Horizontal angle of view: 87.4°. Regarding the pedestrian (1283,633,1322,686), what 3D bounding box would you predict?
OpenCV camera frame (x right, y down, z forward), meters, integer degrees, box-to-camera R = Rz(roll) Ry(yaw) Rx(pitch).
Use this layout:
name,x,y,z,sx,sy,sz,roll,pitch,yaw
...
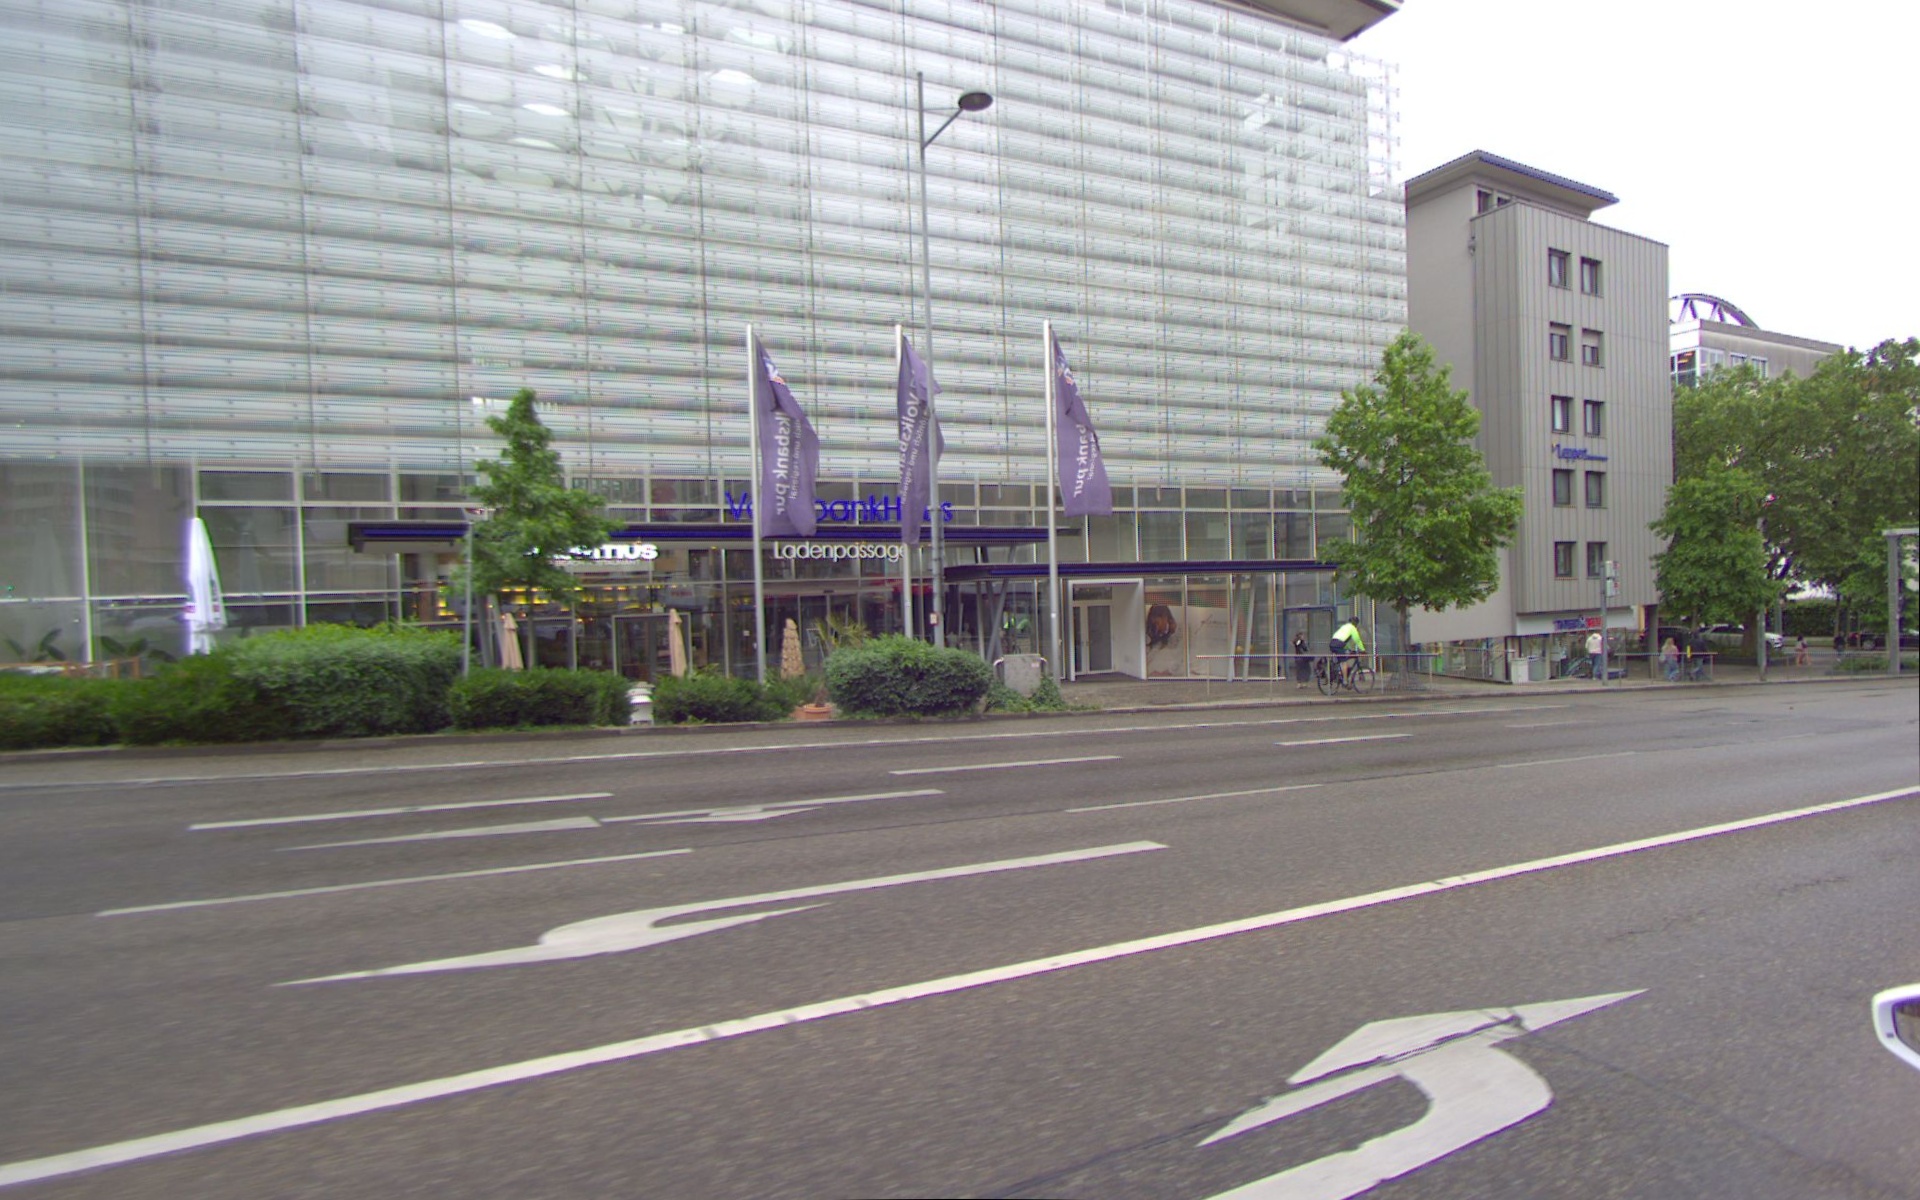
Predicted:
name,x,y,z,sx,sy,sz,roll,pitch,yaw
pedestrian,9.714,1.668,28.512,0.833,1.475,0.650,0,-2,-25

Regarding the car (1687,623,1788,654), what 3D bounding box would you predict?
name,x,y,z,sx,sy,sz,roll,pitch,yaw
car,51.338,2.492,66.410,1.987,1.782,5.021,2,0,-44

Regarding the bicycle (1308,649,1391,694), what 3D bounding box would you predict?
name,x,y,z,sx,sy,sz,roll,pitch,yaw
bicycle,9.996,1.834,25.762,2.038,1.114,0.678,1,-2,-19

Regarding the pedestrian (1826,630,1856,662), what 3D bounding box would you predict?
name,x,y,z,sx,sy,sz,roll,pitch,yaw
pedestrian,48.548,2.511,55.370,0.746,1.745,0.950,0,-2,-12

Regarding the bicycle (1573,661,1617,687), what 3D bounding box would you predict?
name,x,y,z,sx,sy,sz,roll,pitch,yaw
bicycle,28.503,3.312,45.083,2.642,1.101,0.608,2,-1,-33

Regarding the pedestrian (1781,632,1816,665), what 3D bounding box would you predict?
name,x,y,z,sx,sy,sz,roll,pitch,yaw
pedestrian,45.929,2.642,55.023,0.996,1.745,0.951,-2,-2,-6

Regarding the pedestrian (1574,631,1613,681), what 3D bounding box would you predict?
name,x,y,z,sx,sy,sz,roll,pitch,yaw
pedestrian,22.438,1.959,35.582,0.982,1.745,1.033,-2,-2,43

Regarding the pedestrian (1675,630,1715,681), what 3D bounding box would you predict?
name,x,y,z,sx,sy,sz,roll,pitch,yaw
pedestrian,25.285,1.896,34.559,1.302,1.735,0.809,1,-2,-39

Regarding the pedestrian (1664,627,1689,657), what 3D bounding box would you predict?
name,x,y,z,sx,sy,sz,roll,pitch,yaw
pedestrian,42.061,2.487,58.974,0.937,1.745,0.757,0,-2,-20

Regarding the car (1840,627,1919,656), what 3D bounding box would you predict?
name,x,y,z,sx,sy,sz,roll,pitch,yaw
car,58.116,2.586,62.728,4.632,1.665,1.776,2,0,44

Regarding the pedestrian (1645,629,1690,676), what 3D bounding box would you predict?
name,x,y,z,sx,sy,sz,roll,pitch,yaw
pedestrian,26.832,1.962,38.085,1.075,1.745,0.970,0,-2,-25

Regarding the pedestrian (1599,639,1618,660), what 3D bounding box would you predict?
name,x,y,z,sx,sy,sz,roll,pitch,yaw
pedestrian,40.709,3.093,63.044,0.935,1.289,0.758,-1,-2,31

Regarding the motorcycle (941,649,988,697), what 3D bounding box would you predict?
name,x,y,z,sx,sy,sz,roll,pitch,yaw
motorcycle,0.119,2.093,29.062,0.759,1.312,1.543,1,-1,-25

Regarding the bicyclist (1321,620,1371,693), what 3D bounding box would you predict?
name,x,y,z,sx,sy,sz,roll,pitch,yaw
bicyclist,9.892,1.442,25.738,0.975,1.854,0.668,1,-2,-19

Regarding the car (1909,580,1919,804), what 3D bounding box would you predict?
name,x,y,z,sx,sy,sz,roll,pitch,yaw
car,10.434,0.822,8.696,4.739,1.841,2.076,1,1,-32
